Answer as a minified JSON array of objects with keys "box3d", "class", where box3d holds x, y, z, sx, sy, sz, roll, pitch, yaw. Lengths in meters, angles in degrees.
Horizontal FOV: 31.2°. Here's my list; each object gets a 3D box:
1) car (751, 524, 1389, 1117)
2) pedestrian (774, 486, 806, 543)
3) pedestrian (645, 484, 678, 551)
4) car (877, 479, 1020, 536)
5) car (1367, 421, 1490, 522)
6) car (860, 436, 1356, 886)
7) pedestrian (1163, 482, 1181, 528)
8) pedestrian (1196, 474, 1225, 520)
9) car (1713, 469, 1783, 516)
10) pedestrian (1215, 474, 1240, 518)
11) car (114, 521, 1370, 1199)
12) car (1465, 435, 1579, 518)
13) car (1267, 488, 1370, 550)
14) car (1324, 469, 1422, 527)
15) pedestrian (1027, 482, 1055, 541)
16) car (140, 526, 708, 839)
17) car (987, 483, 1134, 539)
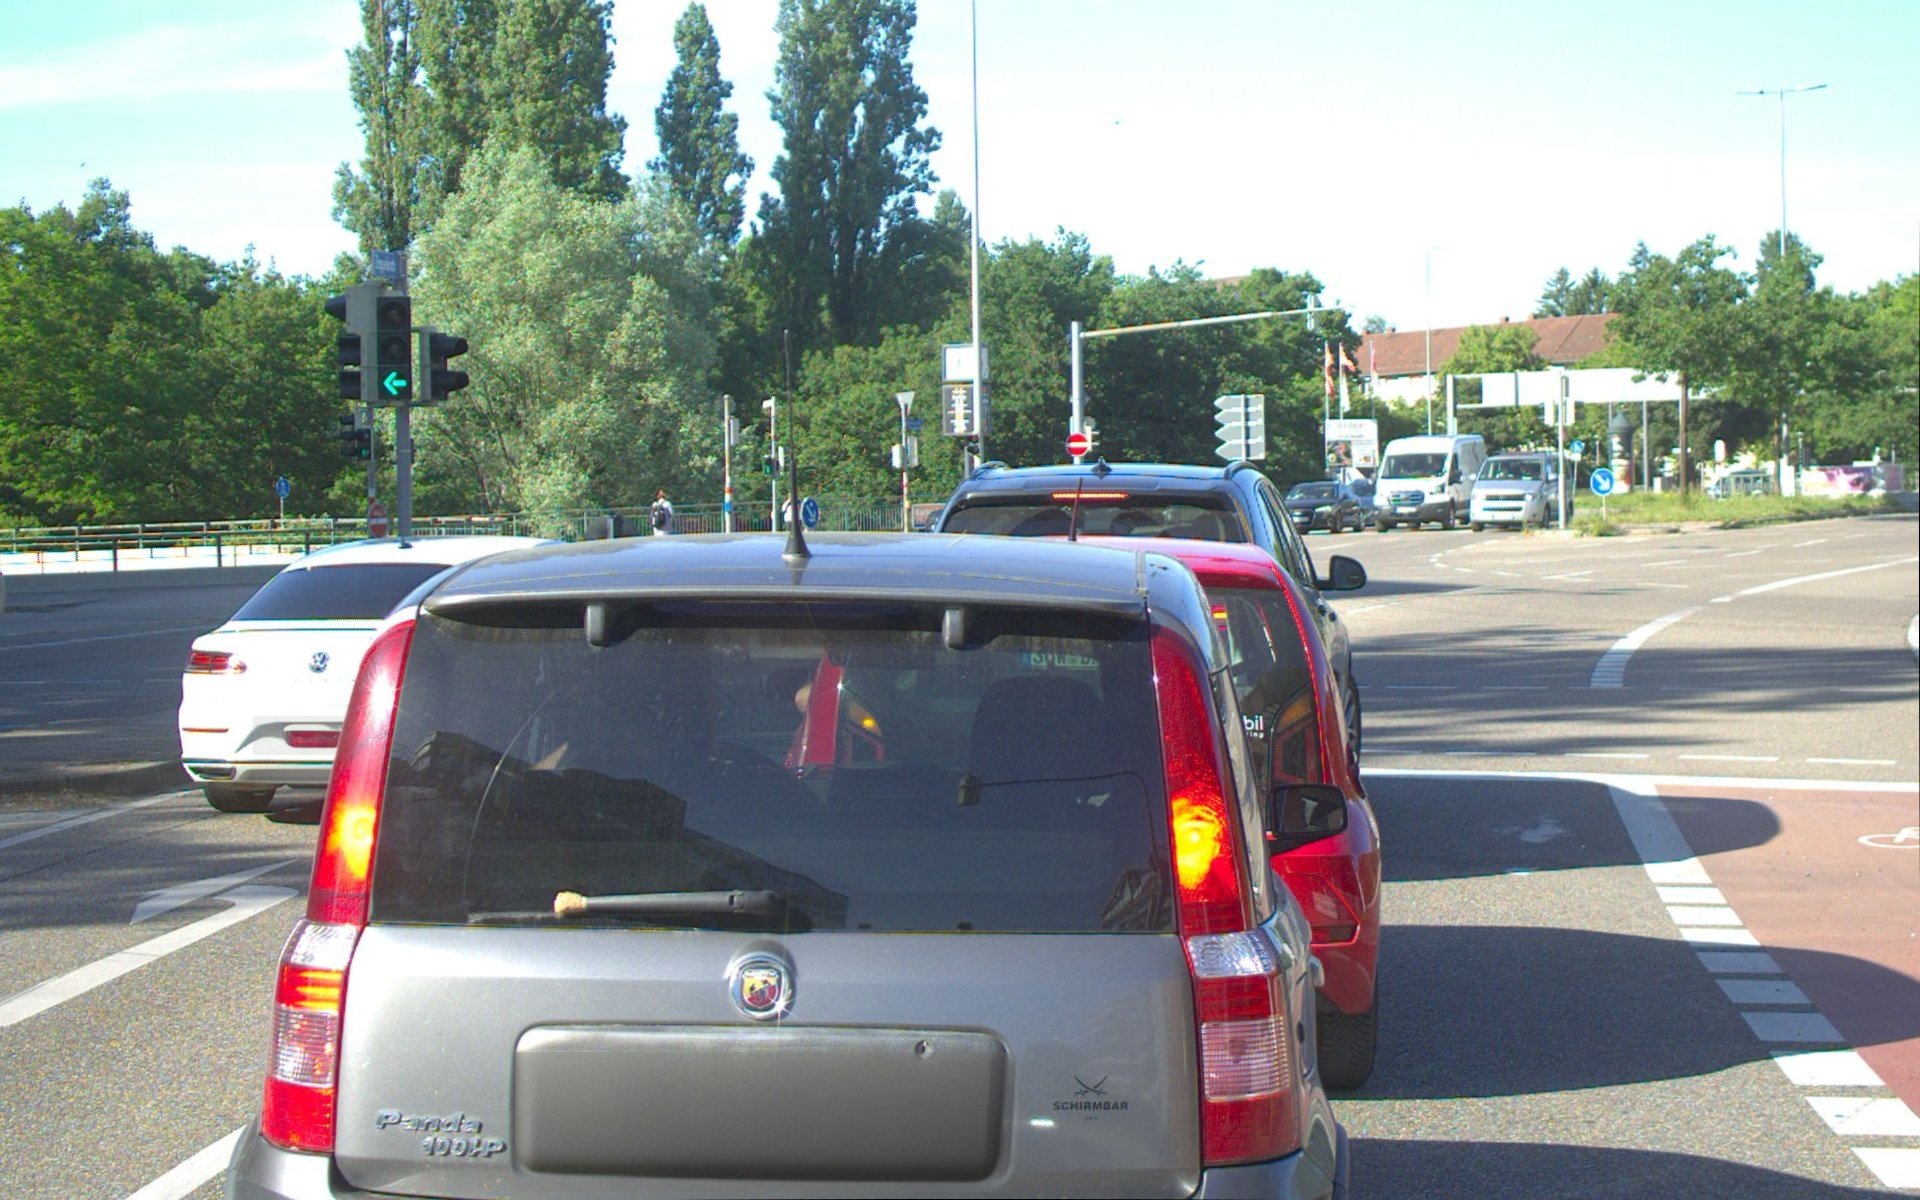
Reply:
[{"box3d":[0.435,0.533,10.685,1.618,1.458,3.750,-1,2,5],"class":"car"},{"box3d":[-4.770,-2.401,96.436,0.709,1.542,0.729,-2,0,-16],"class":"pedestrian"},{"box3d":[-6.502,-1.801,74.852,0.679,1.458,0.703,-1,2,-6],"class":"pedestrian"},{"box3d":[-0.336,-2.787,104.106,3.988,1.619,1.900,0,1,-38],"class":"car"},{"box3d":[12.416,-3.404,90.745,1.938,2.567,6.083,0,2,20],"class":"car"},{"box3d":[0.838,0.185,16.179,1.946,1.833,4.152,-1,2,8],"class":"car"},{"box3d":[7.732,-3.467,125.436,0.499,1.696,0.499,1,0,24],"class":"pedestrian"},{"box3d":[9.096,-3.725,124.904,0.791,1.658,0.628,1,1,40],"class":"pedestrian"},{"box3d":[28.355,-3.870,123.630,1.938,1.616,4.502,0,2,20],"class":"car"},{"box3d":[10.029,-3.901,129.044,0.721,1.635,0.671,1,0,25],"class":"pedestrian"},{"box3d":[-0.126,0.648,6.340,1.618,1.510,3.819,-1,2,5],"class":"car"},{"box3d":[14.212,-3.139,86.760,1.938,2.001,4.927,0,2,20],"class":"car"},{"box3d":[9.598,-2.177,91.754,1.938,1.502,3.997,-2,2,17],"class":"car"},{"box3d":[11.835,-2.932,98.344,1.812,1.536,4.613,-2,2,19],"class":"car"},{"box3d":[2.162,-2.367,92.207,0.556,1.542,0.576,-2,1,-16],"class":"pedestrian"},{"box3d":[-2.712,0.342,18.462,1.781,1.410,4.318,0,2,9],"class":"car"},{"box3d":[2.999,-2.663,102.022,4.317,1.530,1.784,-3,4,-41],"class":"car"}]
